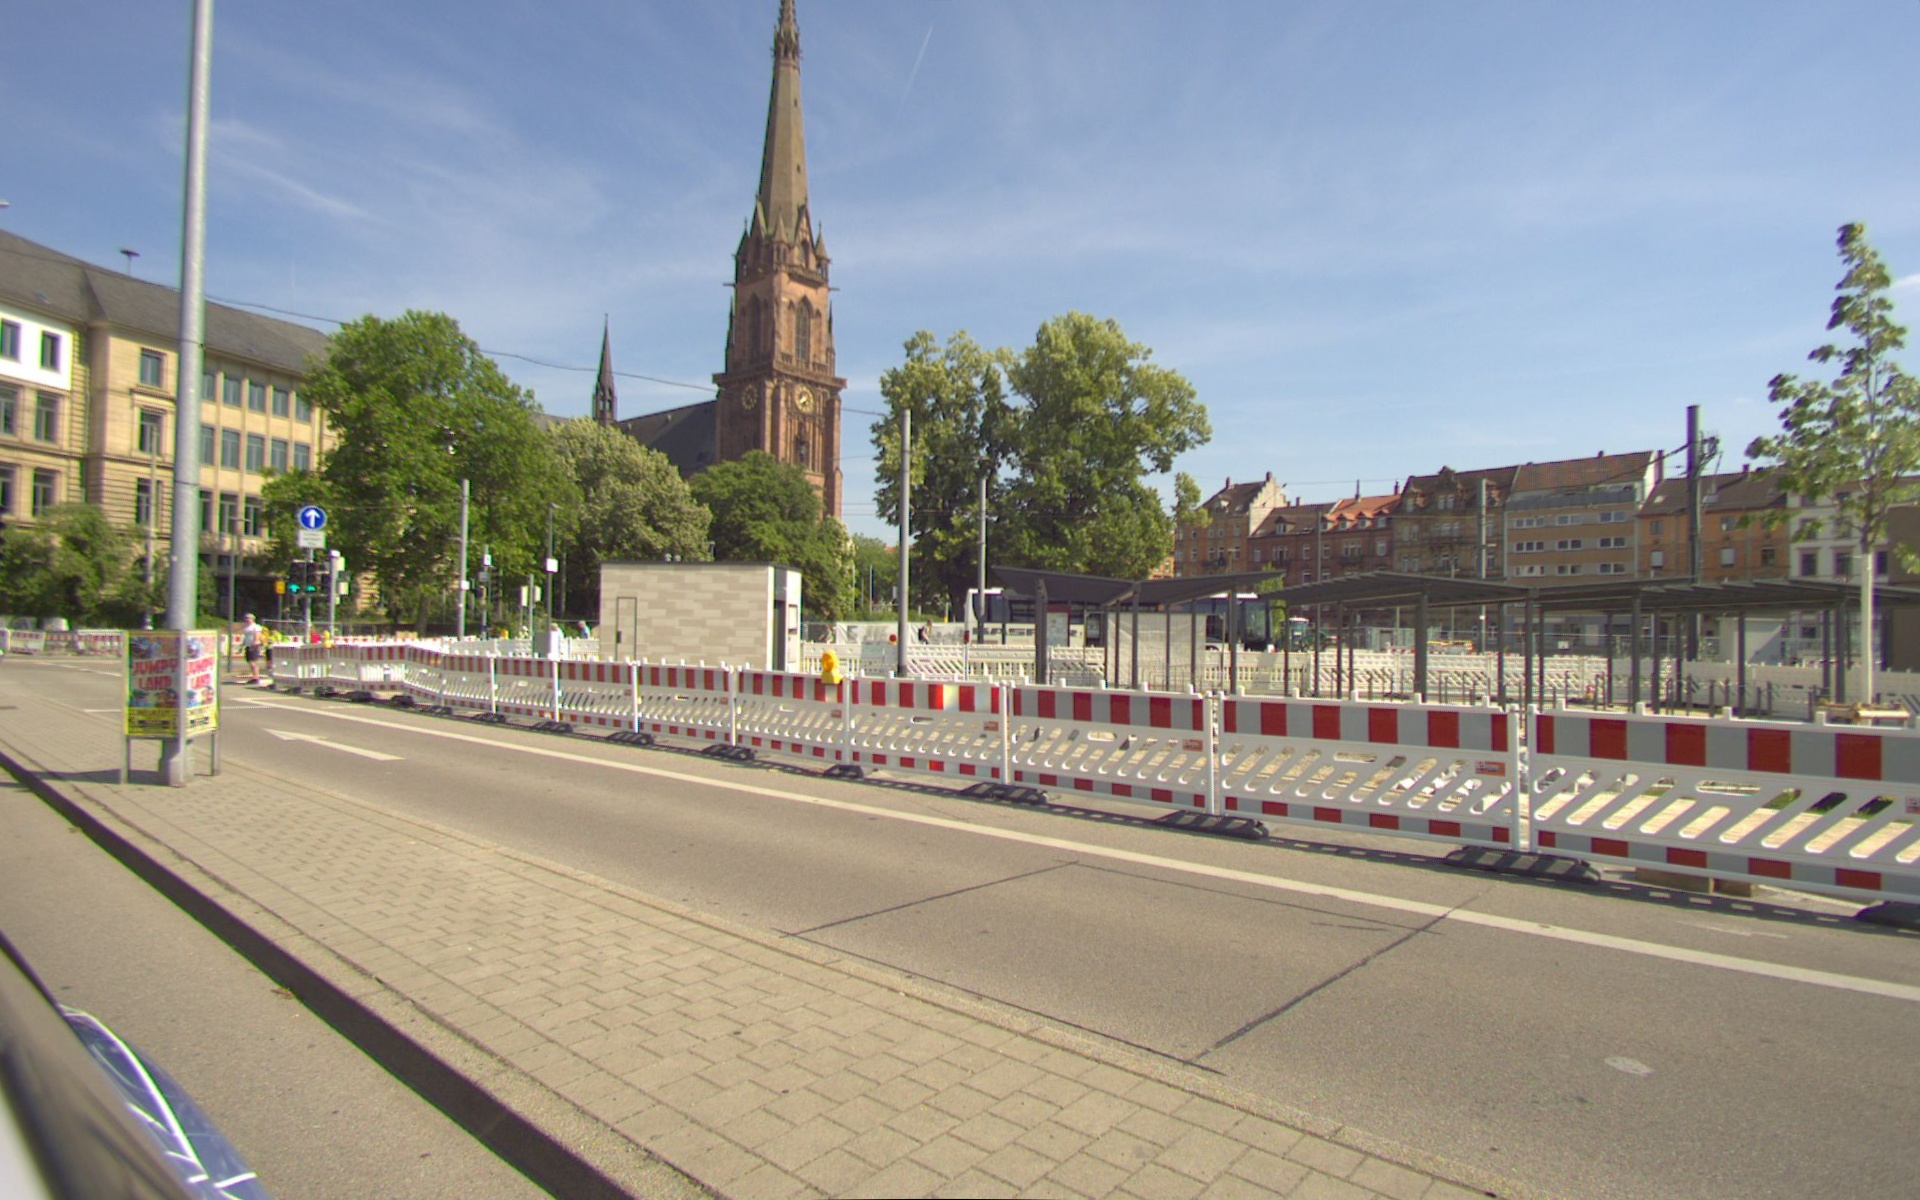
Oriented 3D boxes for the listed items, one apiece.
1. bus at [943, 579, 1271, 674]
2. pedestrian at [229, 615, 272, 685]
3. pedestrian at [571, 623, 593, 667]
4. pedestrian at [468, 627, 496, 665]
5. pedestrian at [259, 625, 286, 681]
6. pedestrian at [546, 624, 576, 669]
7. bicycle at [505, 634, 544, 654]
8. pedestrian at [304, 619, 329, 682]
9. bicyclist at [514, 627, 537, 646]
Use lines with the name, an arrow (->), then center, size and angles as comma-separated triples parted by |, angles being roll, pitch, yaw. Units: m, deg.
bus -> 5.702, 1.034, 40.415 | 12.504, 3.516, 2.856 | 0, -2, 7
pedestrian -> -18.950, 1.328, 27.045 | 0.827, 1.826, 0.651 | 1, -2, -25
pedestrian -> -13.972, 1.665, 37.443 | 0.577, 1.628, 0.690 | 0, -2, -5
pedestrian -> -21.606, 2.079, 45.774 | 0.926, 1.668, 0.845 | 2, -3, -41
pedestrian -> -19.914, 1.522, 29.313 | 0.416, 1.555, 0.670 | -2, 0, -14
pedestrian -> -14.491, 1.682, 36.751 | 0.789, 1.628, 0.656 | -1, -2, 25
bicycle -> -21.916, 2.211, 50.912 | 1.643, 0.954, 0.701 | 1, -2, 2
pedestrian -> -16.820, 1.316, 26.440 | 0.686, 1.628, 0.346 | -1, -3, 42
bicyclist -> -21.869, 1.836, 50.912 | 0.858, 0.934, 0.682 | 1, -2, 2
